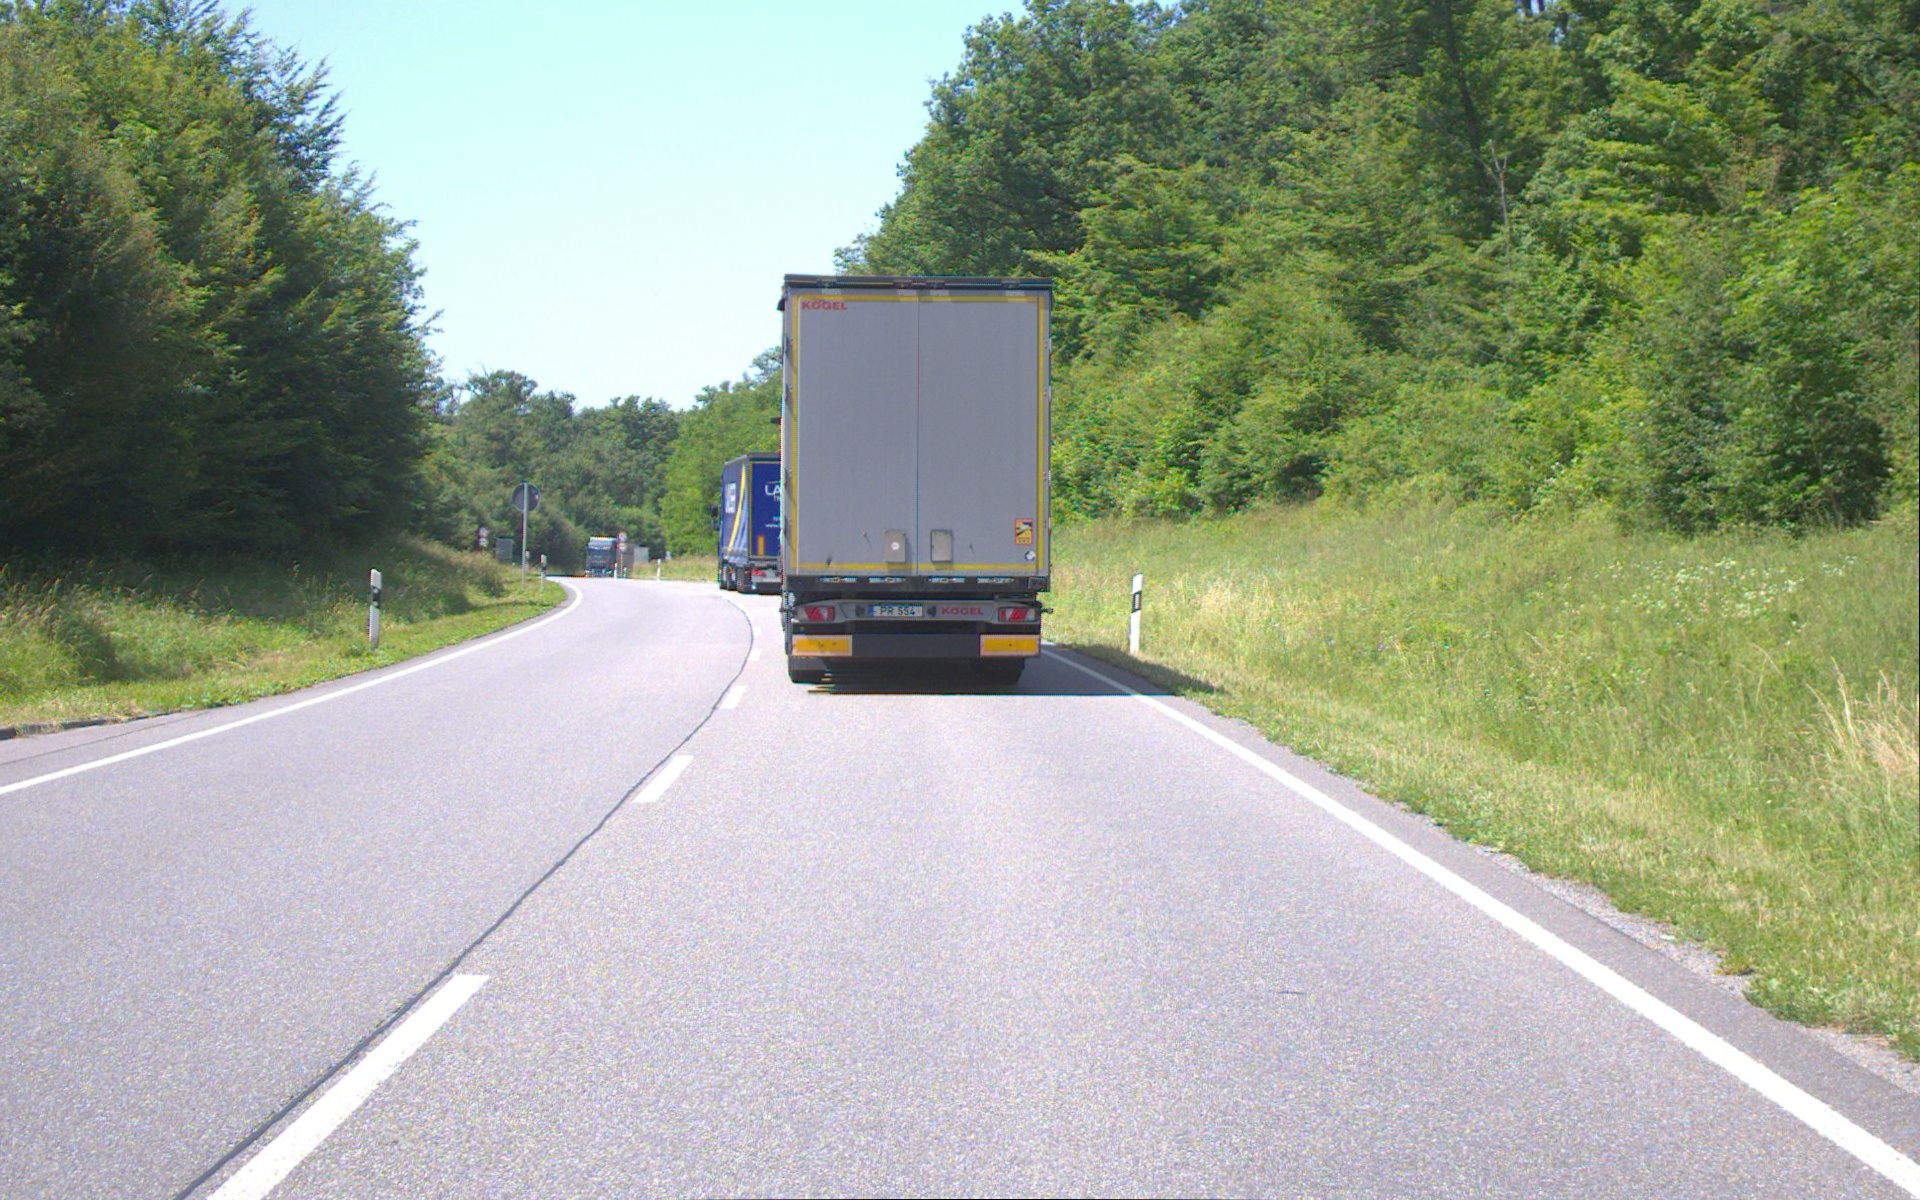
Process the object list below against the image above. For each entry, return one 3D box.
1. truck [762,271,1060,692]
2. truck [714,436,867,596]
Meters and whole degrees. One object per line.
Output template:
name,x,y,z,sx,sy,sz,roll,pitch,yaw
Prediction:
truck,-0.659,-1.217,38.534,2.761,3.933,12.199,1,1,-2
truck,-5.268,-2.509,103.496,3.792,4.358,14.923,2,1,-6
